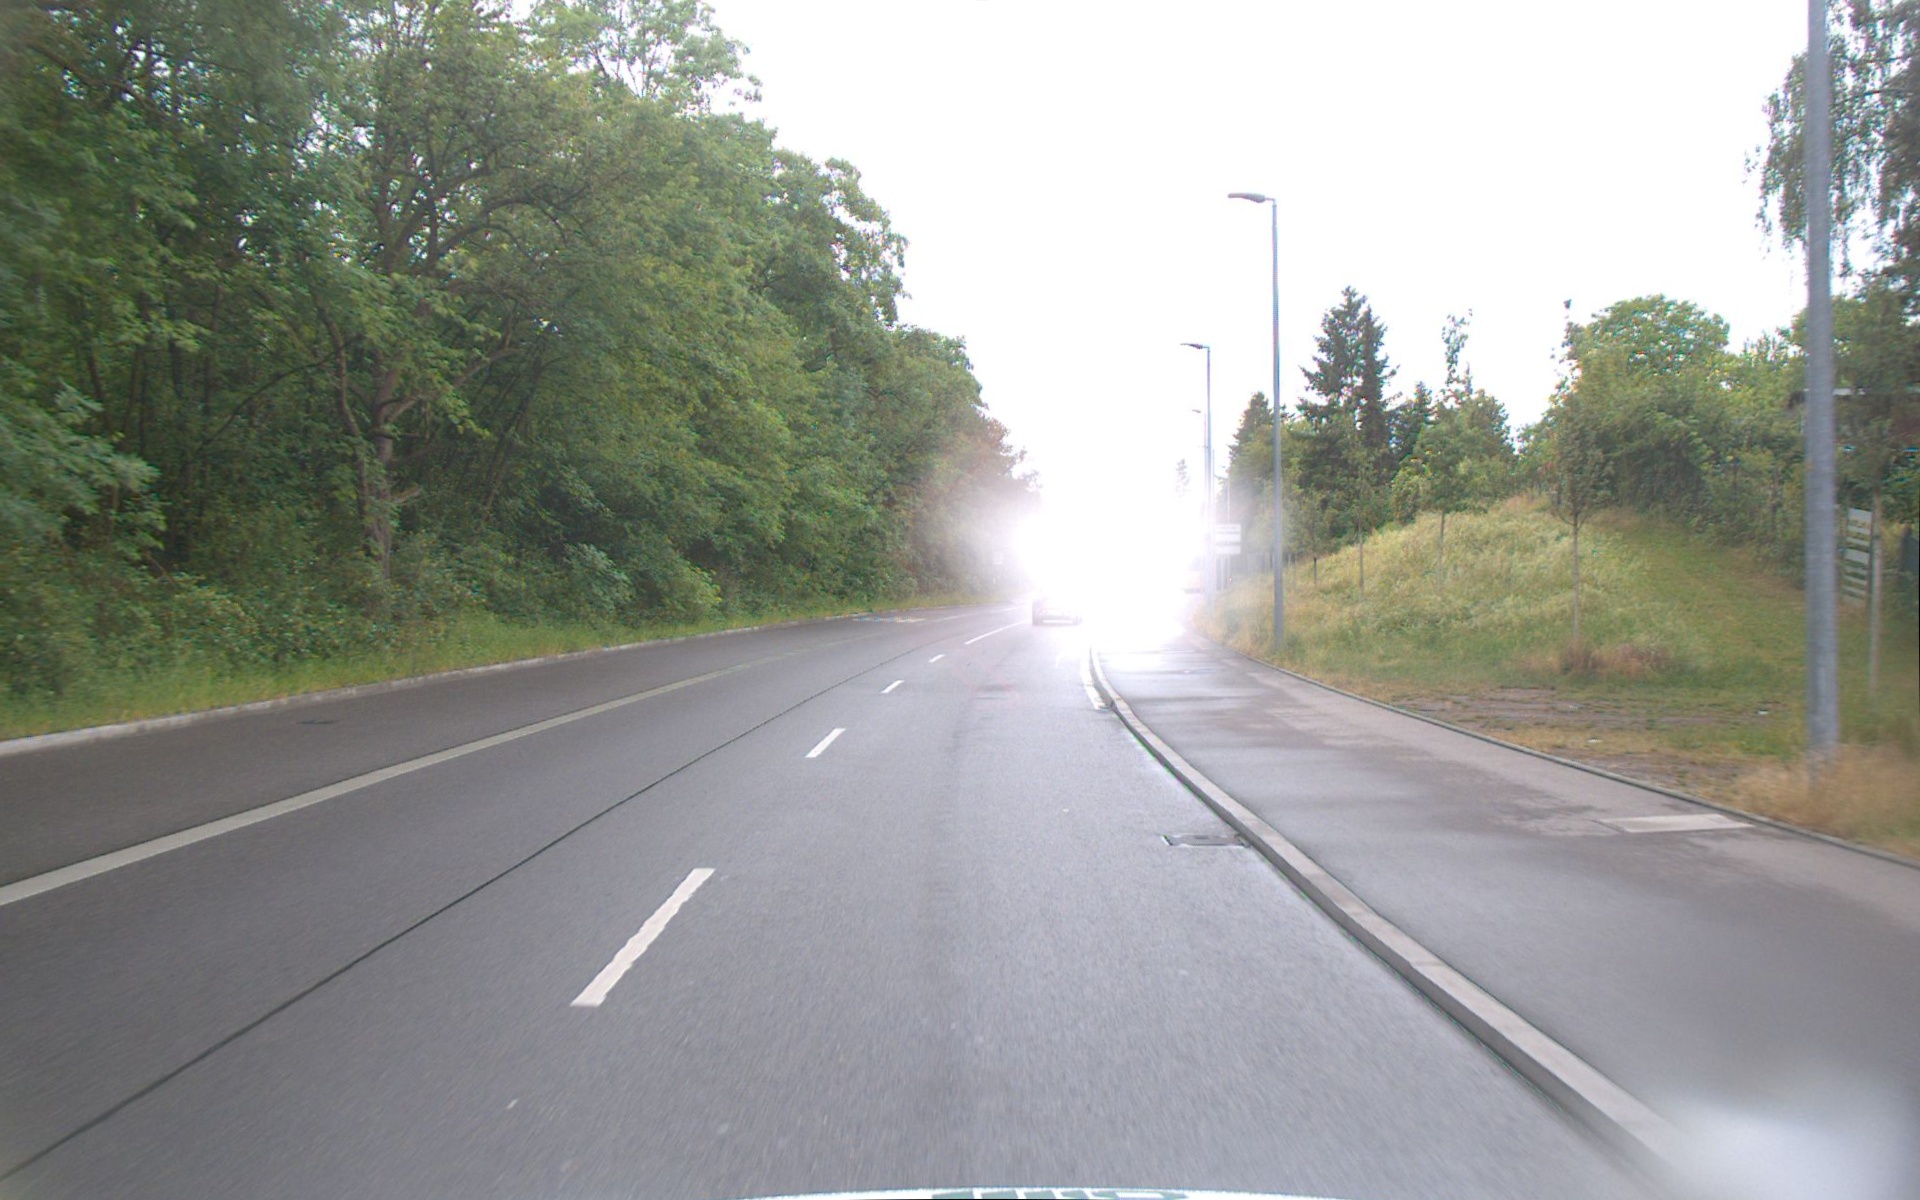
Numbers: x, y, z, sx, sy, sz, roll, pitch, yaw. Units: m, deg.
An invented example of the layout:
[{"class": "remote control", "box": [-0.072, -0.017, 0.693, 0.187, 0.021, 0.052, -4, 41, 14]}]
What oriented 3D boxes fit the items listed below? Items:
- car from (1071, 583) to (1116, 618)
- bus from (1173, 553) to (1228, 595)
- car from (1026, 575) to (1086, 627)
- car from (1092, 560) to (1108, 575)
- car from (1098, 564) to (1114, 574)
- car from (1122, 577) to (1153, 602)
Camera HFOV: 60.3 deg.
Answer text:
[{"class": "car", "box": [6.564, -0.008, 80.943, 1.886, 1.512, 3.803, -2, 2, 9]}, {"class": "bus", "box": [18.859, -2.019, 129.278, 2.758, 3.197, 9.185, 0, 1, 18]}, {"class": "car", "box": [3.531, 0.008, 60.475, 1.951, 1.718, 4.004, -2, 2, 6]}, {"class": "car", "box": [21.800, -5.051, 258.210, 2.222, 2.376, 5.591, 0, 1, 3]}, {"class": "car", "box": [20.313, -4.294, 230.173, 1.952, 1.445, 4.002, 0, 1, 3]}, {"class": "car", "box": [11.682, -0.714, 108.667, 1.951, 1.579, 4.003, 0, 1, 7]}]
